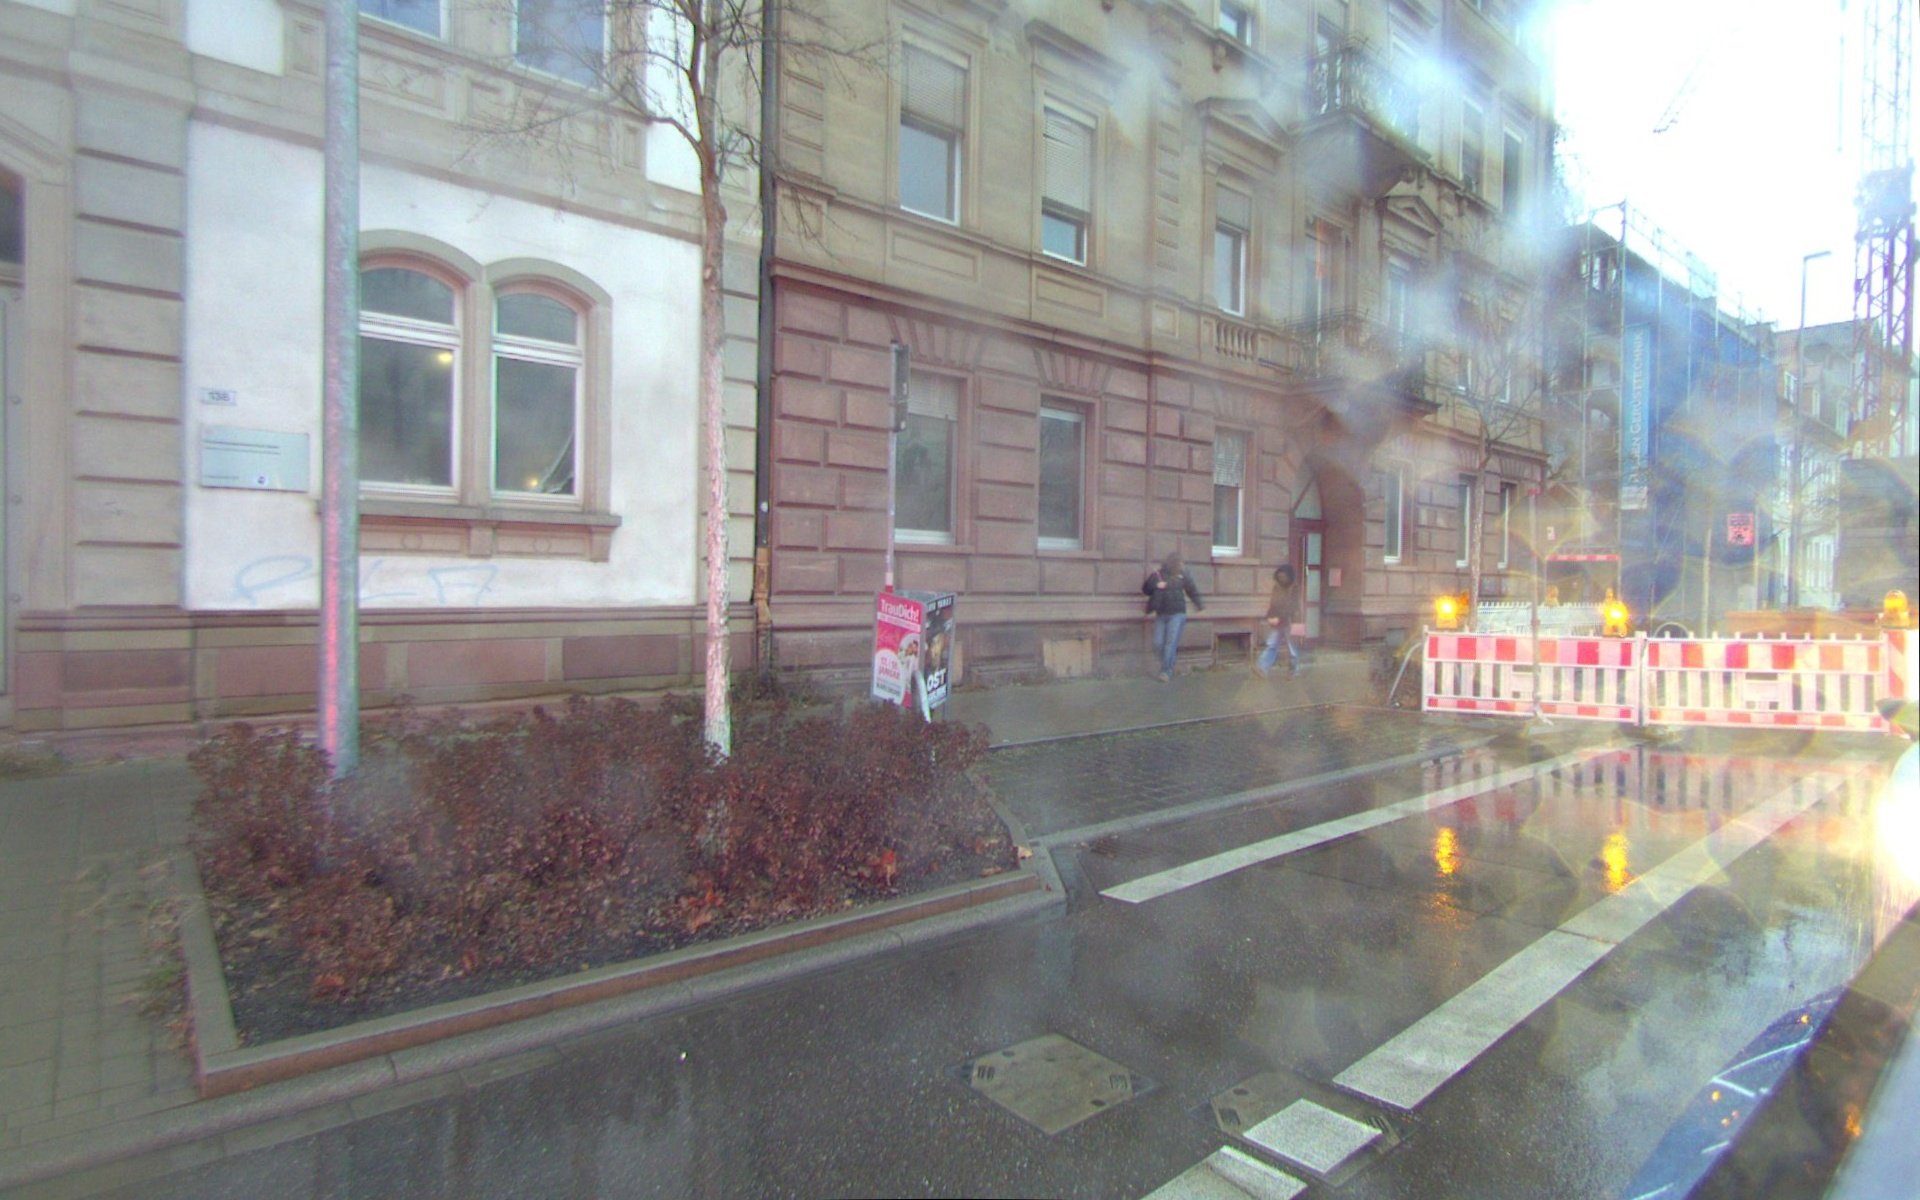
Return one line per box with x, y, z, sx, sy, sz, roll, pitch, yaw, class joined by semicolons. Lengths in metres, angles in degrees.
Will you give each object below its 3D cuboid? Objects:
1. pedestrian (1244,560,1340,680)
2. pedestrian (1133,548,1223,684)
4.528;0.243;13.825;0.913;1.564;0.870;0;2;-40;pedestrian
2.834;0.186;13.202;0.694;1.693;0.871;0;1;-37;pedestrian
